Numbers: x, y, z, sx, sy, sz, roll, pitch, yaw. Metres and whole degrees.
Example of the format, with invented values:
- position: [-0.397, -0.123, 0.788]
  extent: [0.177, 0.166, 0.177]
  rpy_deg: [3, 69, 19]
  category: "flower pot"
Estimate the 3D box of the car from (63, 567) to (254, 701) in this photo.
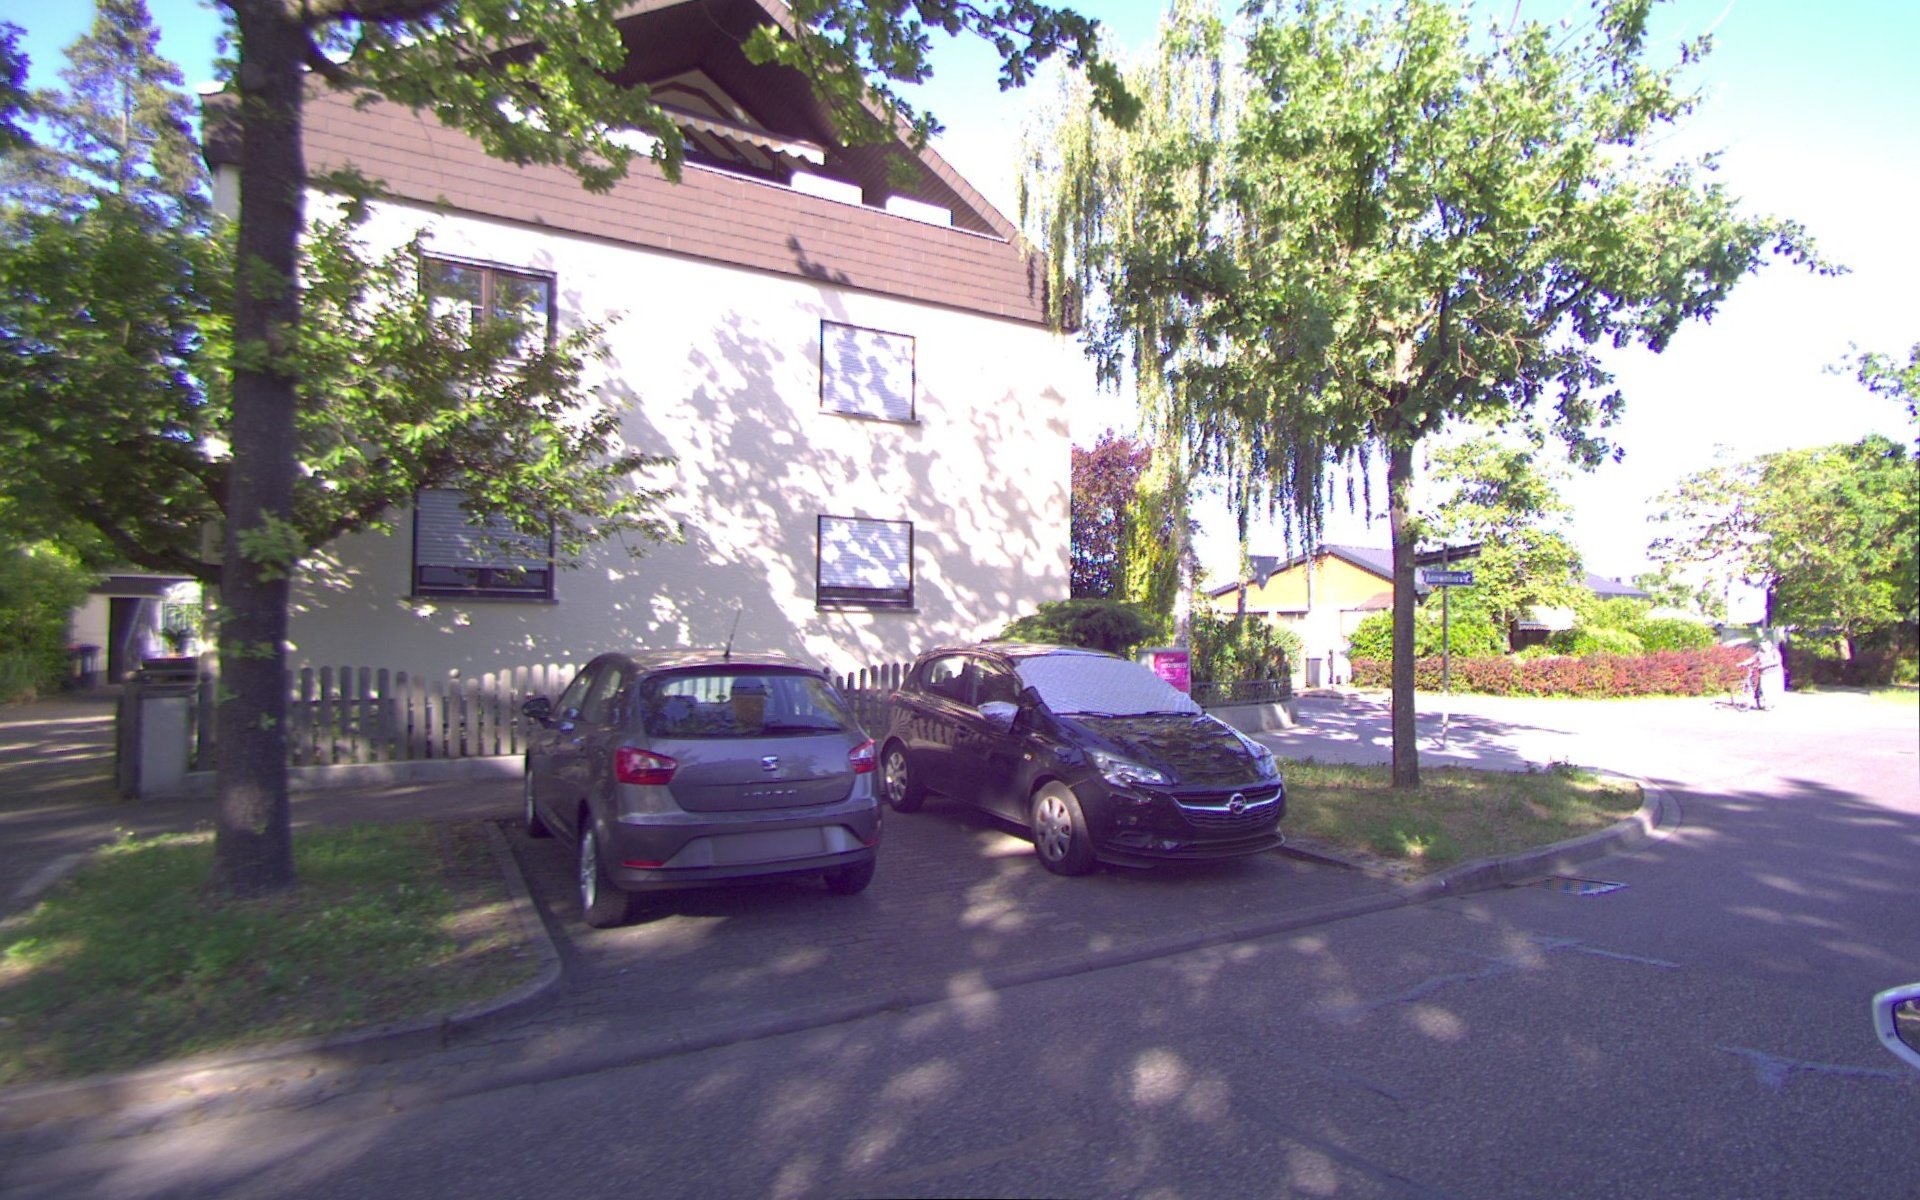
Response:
- position: [-16.443, 0.733, 20.902]
  extent: [2.000, 2.457, 4.362]
  rpy_deg: [2, -3, -25]
  category: "car"

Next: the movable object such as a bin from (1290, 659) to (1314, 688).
- position: [11.459, 2.443, 33.618]
  extent: [0.492, 0.949, 0.612]
  rpy_deg: [1, -2, -18]
  category: "movable object such as a bin"

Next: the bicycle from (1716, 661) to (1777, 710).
- position: [17.867, 1.935, 22.815]
  extent: [1.871, 1.053, 0.445]
  rpy_deg: [2, -3, -31]
  category: "bicycle"

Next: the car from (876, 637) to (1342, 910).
- position: [0.871, 1.077, 7.882]
  extent: [1.692, 1.478, 3.842]
  rpy_deg: [1, -1, -28]
  category: "car"

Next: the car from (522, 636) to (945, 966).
- position: [-1.782, 1.018, 6.783]
  extent: [1.751, 1.438, 3.801]
  rpy_deg: [2, -1, -30]
  category: "car"

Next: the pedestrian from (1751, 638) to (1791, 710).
- position: [18.119, 1.657, 22.450]
  extent: [0.791, 1.577, 0.439]
  rpy_deg: [2, -2, -30]
  category: "pedestrian"
